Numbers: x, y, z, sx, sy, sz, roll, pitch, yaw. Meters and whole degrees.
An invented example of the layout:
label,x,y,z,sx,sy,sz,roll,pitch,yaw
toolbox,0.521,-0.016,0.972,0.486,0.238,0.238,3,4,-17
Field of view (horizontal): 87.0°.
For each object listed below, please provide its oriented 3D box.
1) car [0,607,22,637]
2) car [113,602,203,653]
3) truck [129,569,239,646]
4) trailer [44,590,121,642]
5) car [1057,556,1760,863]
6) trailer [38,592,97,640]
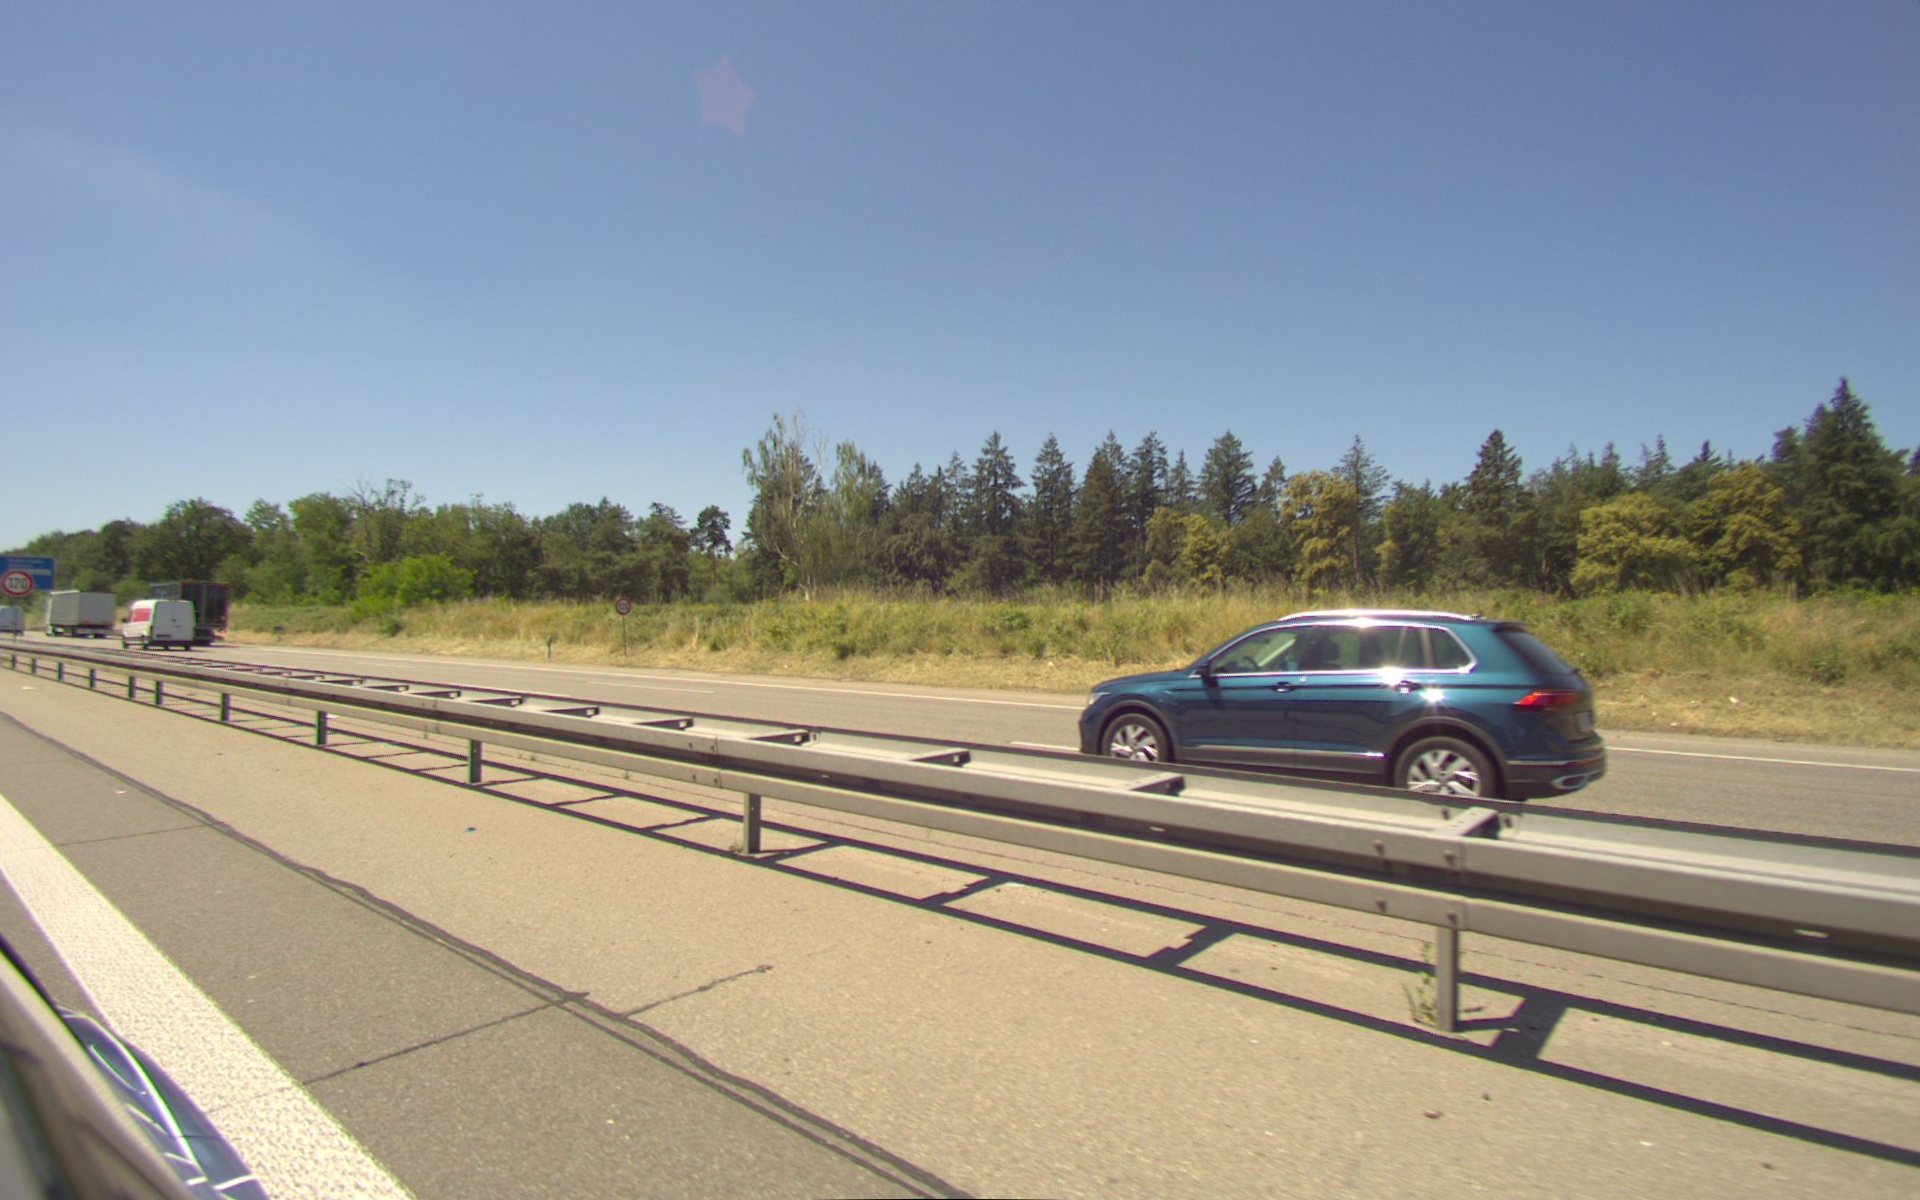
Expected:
label,x,y,z,sx,sy,sz,roll,pitch,yaw
car,-86.631,1.952,91.490,6.387,2.590,1.972,-1,-4,41
car,-42.156,1.454,53.109,7.129,2.467,2.339,-1,-4,41
truck,-51.795,0.565,67.377,12.181,4.660,3.341,-1,-4,41
trailer,-77.661,1.436,89.423,14.119,4.230,3.122,-1,-4,41
car,3.673,0.773,8.936,5.222,1.909,2.339,-1,-4,41
trailer,-82.969,1.534,94.083,6.323,4.230,3.122,-1,-4,41
